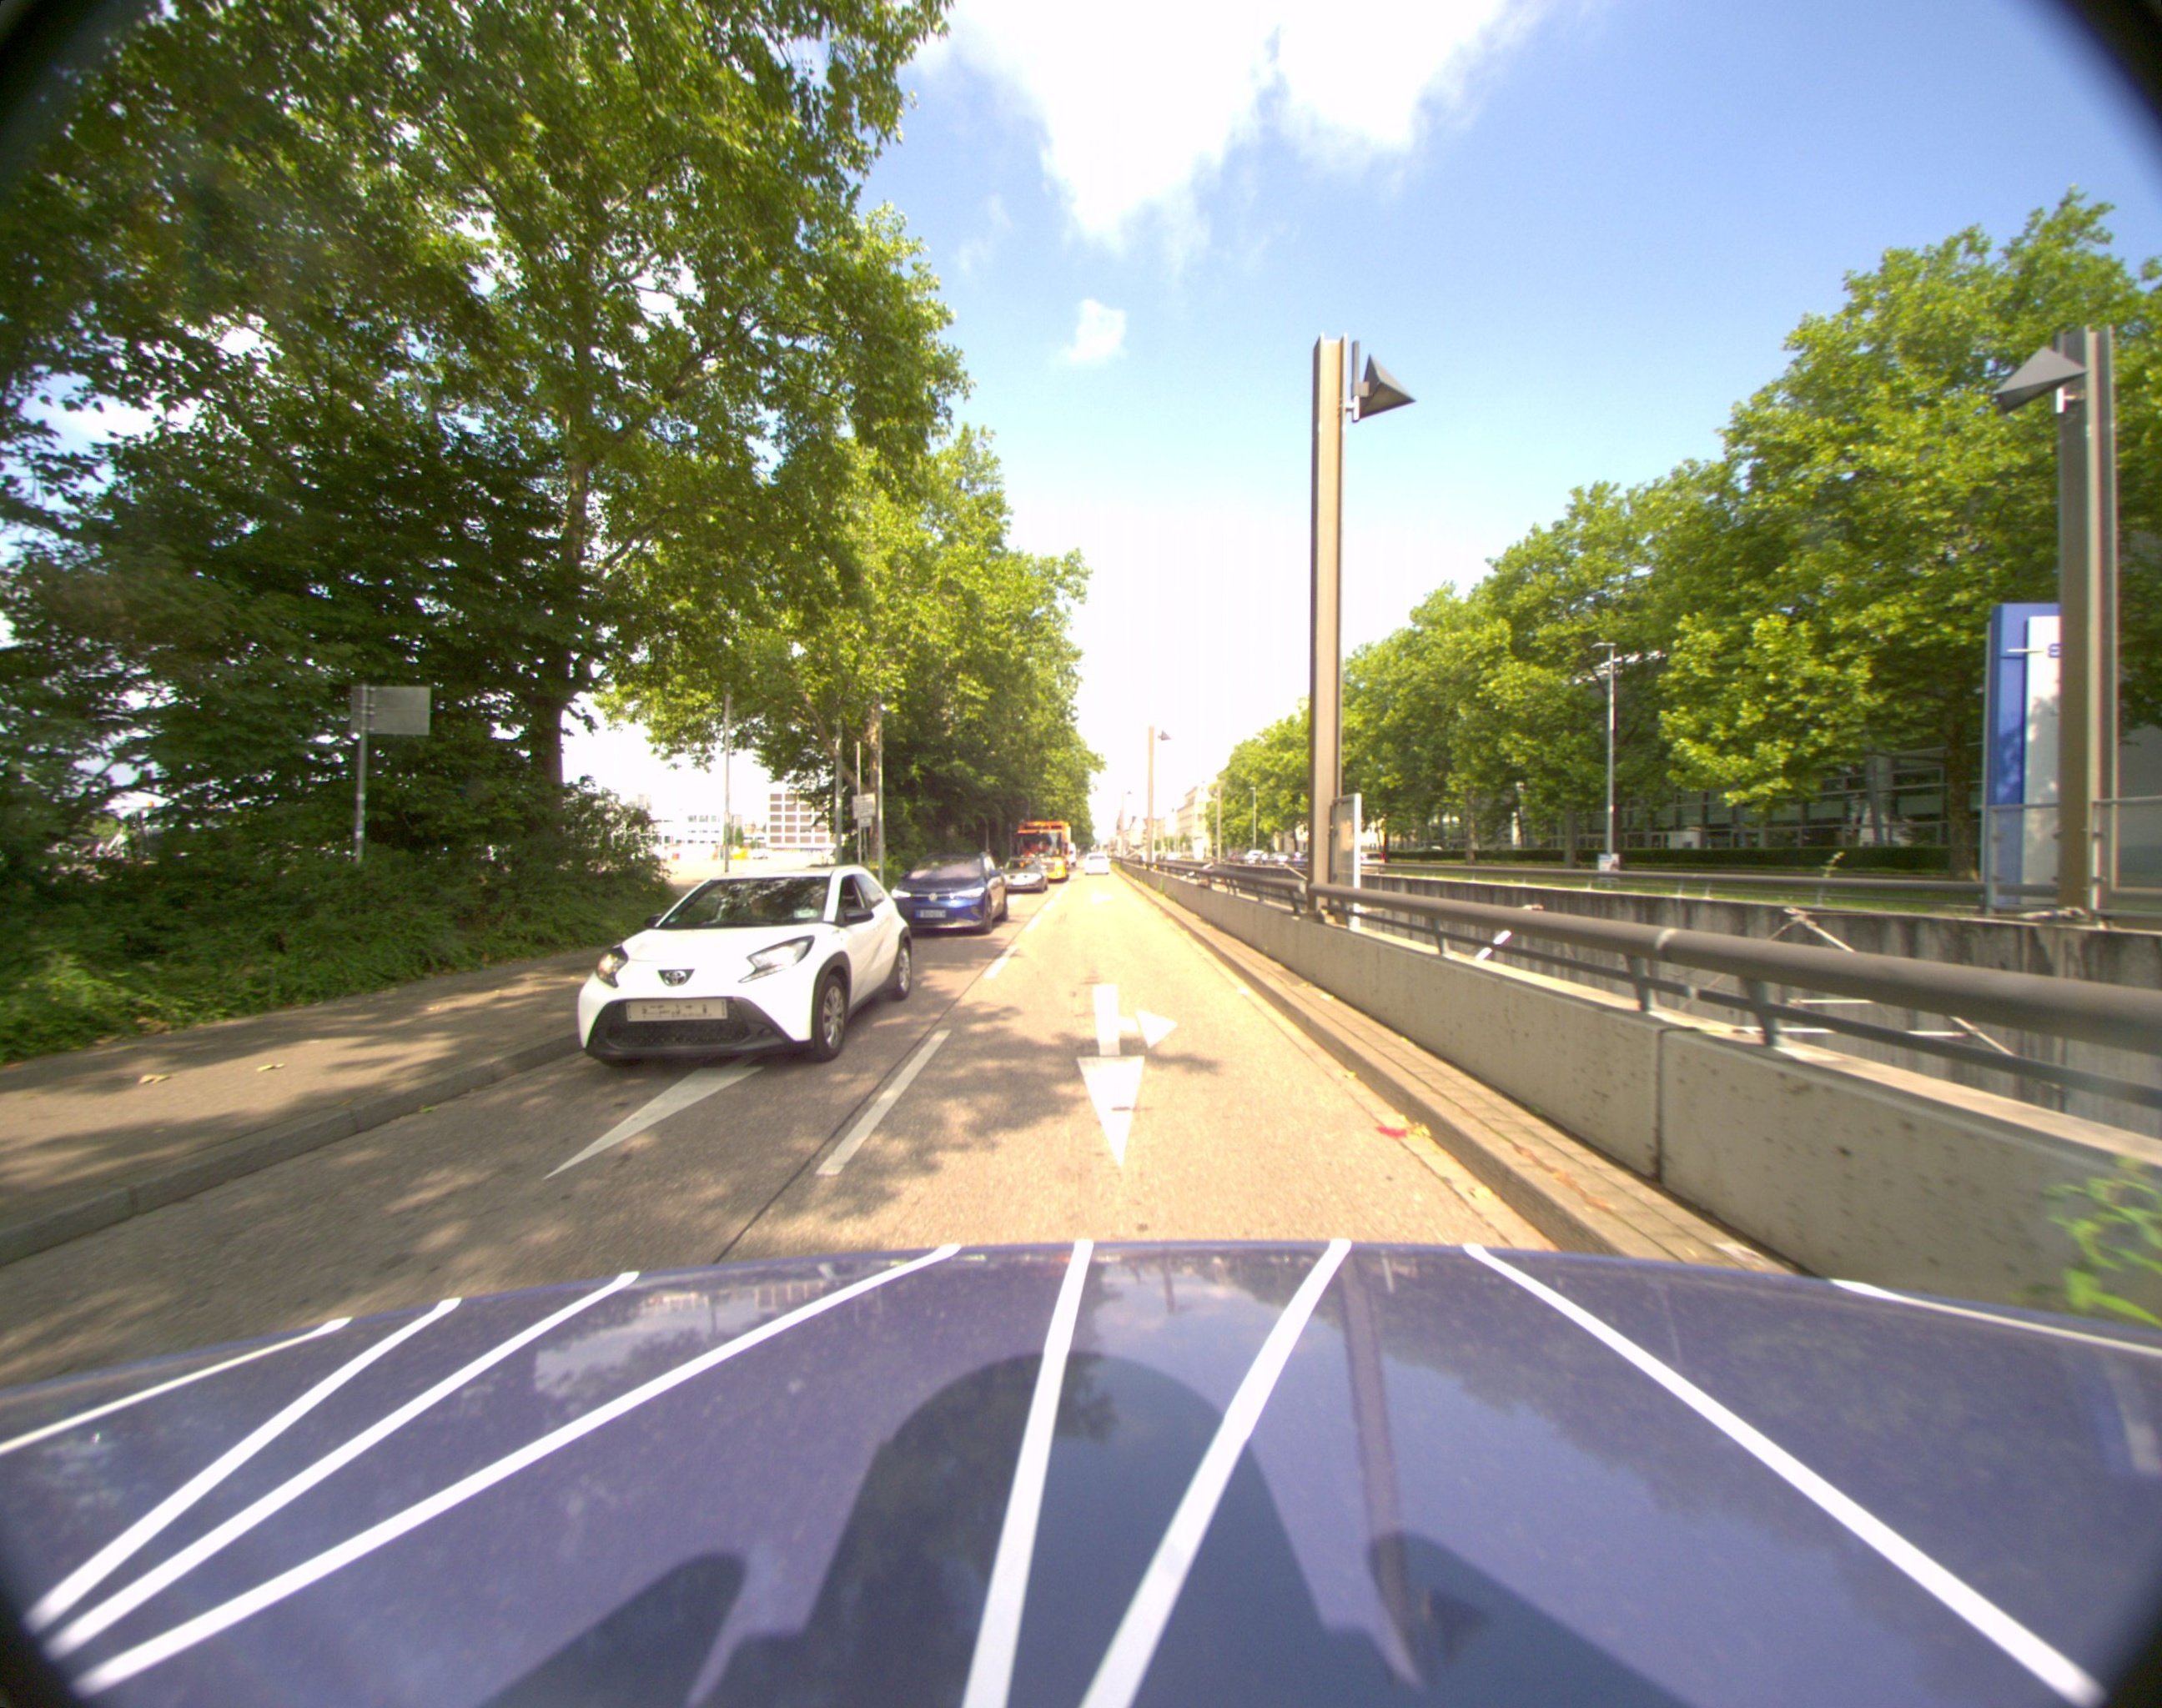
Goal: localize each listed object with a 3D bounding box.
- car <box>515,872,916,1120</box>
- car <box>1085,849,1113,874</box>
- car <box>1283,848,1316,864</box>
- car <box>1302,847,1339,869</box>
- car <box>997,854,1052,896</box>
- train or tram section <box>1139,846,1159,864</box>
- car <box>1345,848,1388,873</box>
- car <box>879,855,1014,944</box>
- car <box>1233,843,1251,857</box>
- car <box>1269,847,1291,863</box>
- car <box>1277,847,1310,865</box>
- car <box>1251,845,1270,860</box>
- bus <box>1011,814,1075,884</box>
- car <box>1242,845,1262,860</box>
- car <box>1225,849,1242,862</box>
[{"bbox_3d":[-2.778,0.965,6.819,1.749,1.470,3.798,-1,0,-1],"label":"car"},{"bbox_3d":[1.225,0.486,53.401,1.737,1.478,3.600,-5,2,-1],"label":"car"},{"bbox_3d":[16.613,0.124,57.927,1.611,1.198,3.127,0,1,0],"label":"car"},{"bbox_3d":[16.311,0.228,51.800,1.582,1.426,3.157,0,1,1],"label":"car"},{"bbox_3d":[-2.210,0.789,30.674,1.771,1.455,4.000,-2,1,1],"label":"car"},{"bbox_3d":[9.777,0.132,109.341,2.216,2.444,6.247,-2,1,-1],"label":"train or tram section"},{"bbox_3d":[16.802,0.358,44.851,1.420,1.447,3.157,0,1,1],"label":"car"},{"bbox_3d":[-2.644,0.838,16.059,1.891,1.566,4.581,-1,0,1],"label":"car"},{"bbox_3d":[16.570,-0.410,78.333,1.309,1.368,3.185,0,1,1],"label":"car"},{"bbox_3d":[16.516,0.060,63.197,1.181,1.236,2.549,-1,1,1],"label":"car"},{"bbox_3d":[16.422,0.132,58.903,1.579,1.368,3.896,0,1,1],"label":"car"},{"bbox_3d":[16.254,-0.142,68.941,1.167,1.368,2.745,0,1,1],"label":"car"},{"bbox_3d":[-1.946,-0.327,43.162,2.744,3.446,10.394,-2,1,1],"label":"bus"},{"bbox_3d":[16.435,-0.147,73.047,1.309,1.368,3.185,0,1,1],"label":"car"},{"bbox_3d":[16.736,0.196,83.301,1.309,1.368,3.185,0,1,1],"label":"car"}]
